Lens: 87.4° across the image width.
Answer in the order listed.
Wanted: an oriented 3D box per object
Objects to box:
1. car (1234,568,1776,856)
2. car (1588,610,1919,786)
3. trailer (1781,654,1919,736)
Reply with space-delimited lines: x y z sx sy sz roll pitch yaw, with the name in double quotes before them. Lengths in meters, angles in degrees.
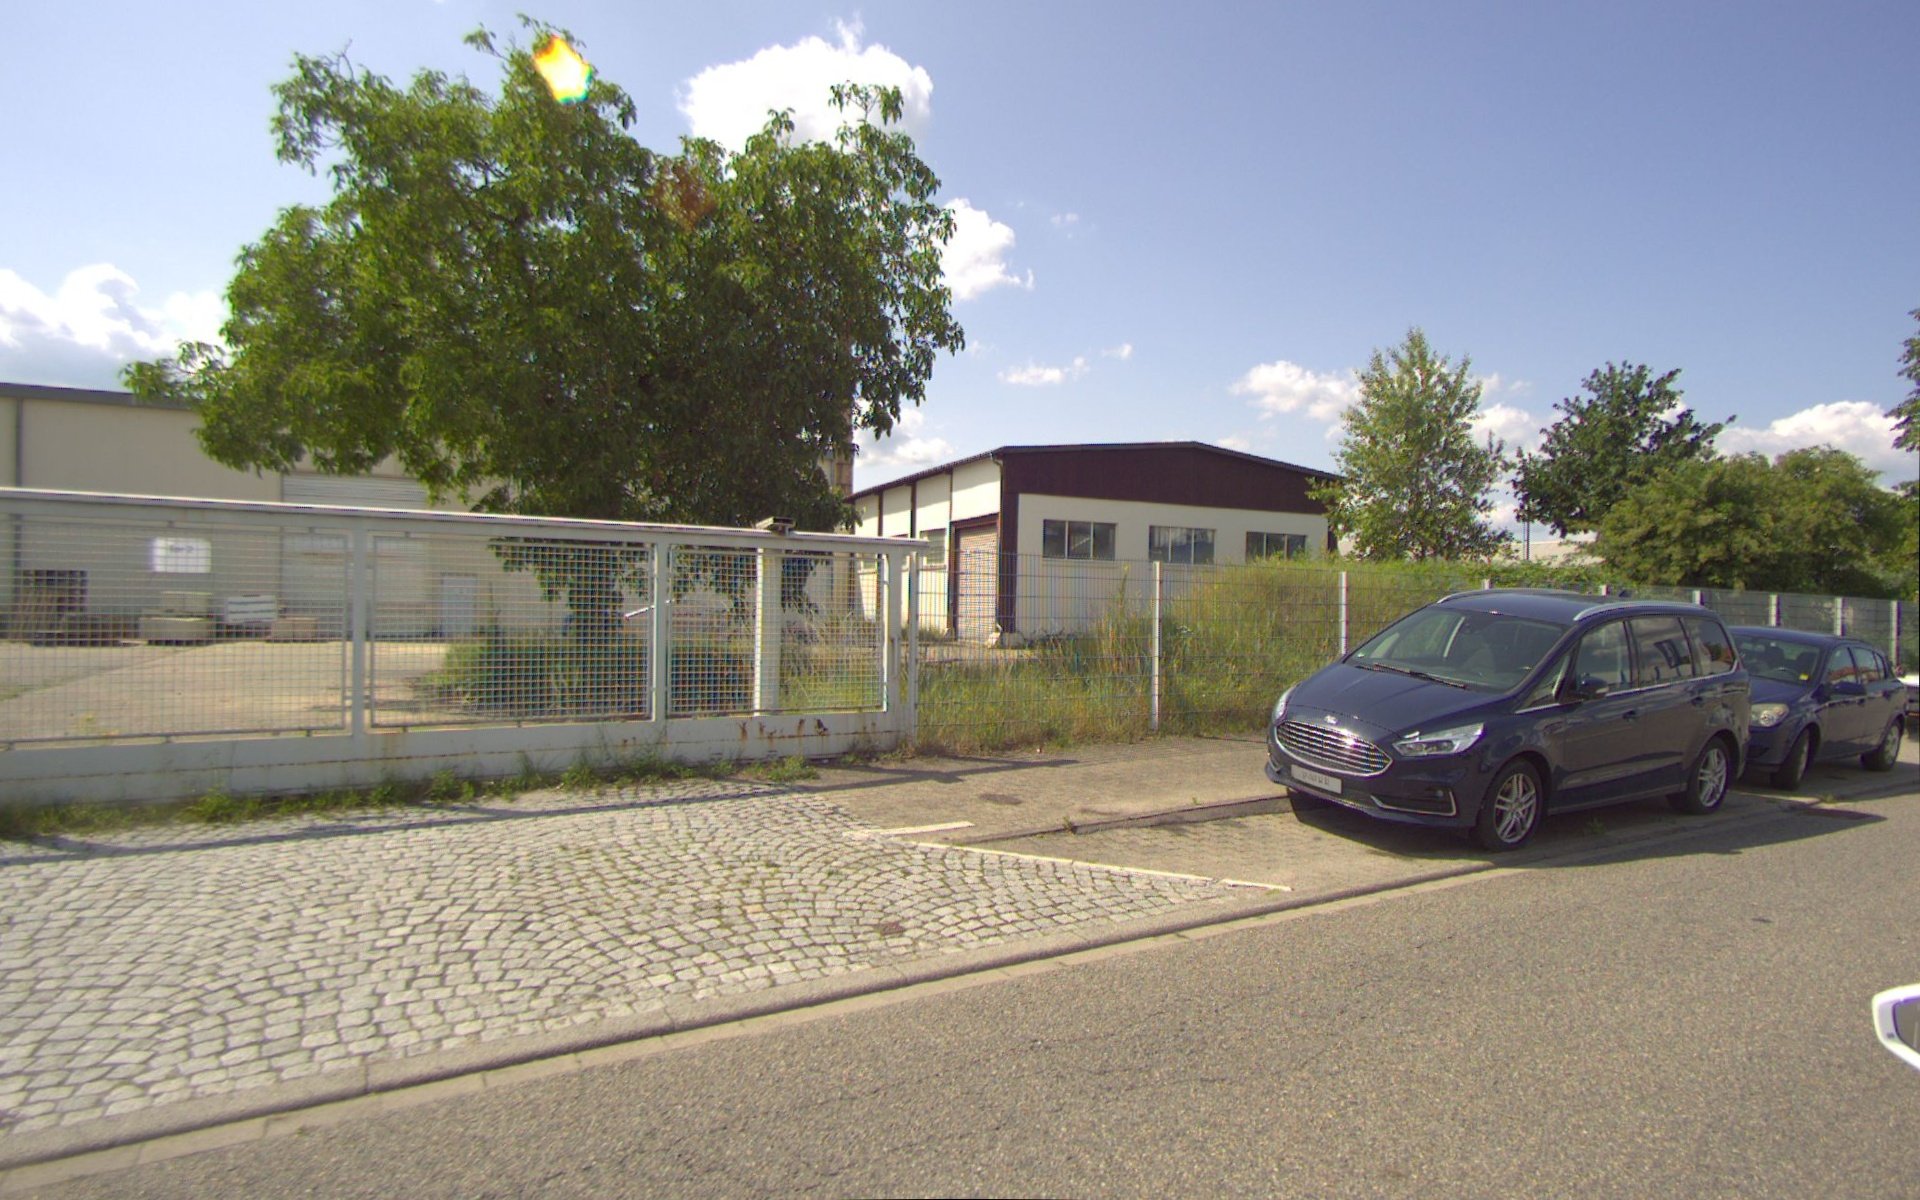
"car" 4.566 0.743 8.196 4.660 1.773 1.791 2 0 -32
"car" 8.684 0.949 10.873 4.157 1.533 1.568 2 1 -33
"trailer" 15.747 1.448 15.593 7.047 0.895 2.260 2 4 -30
